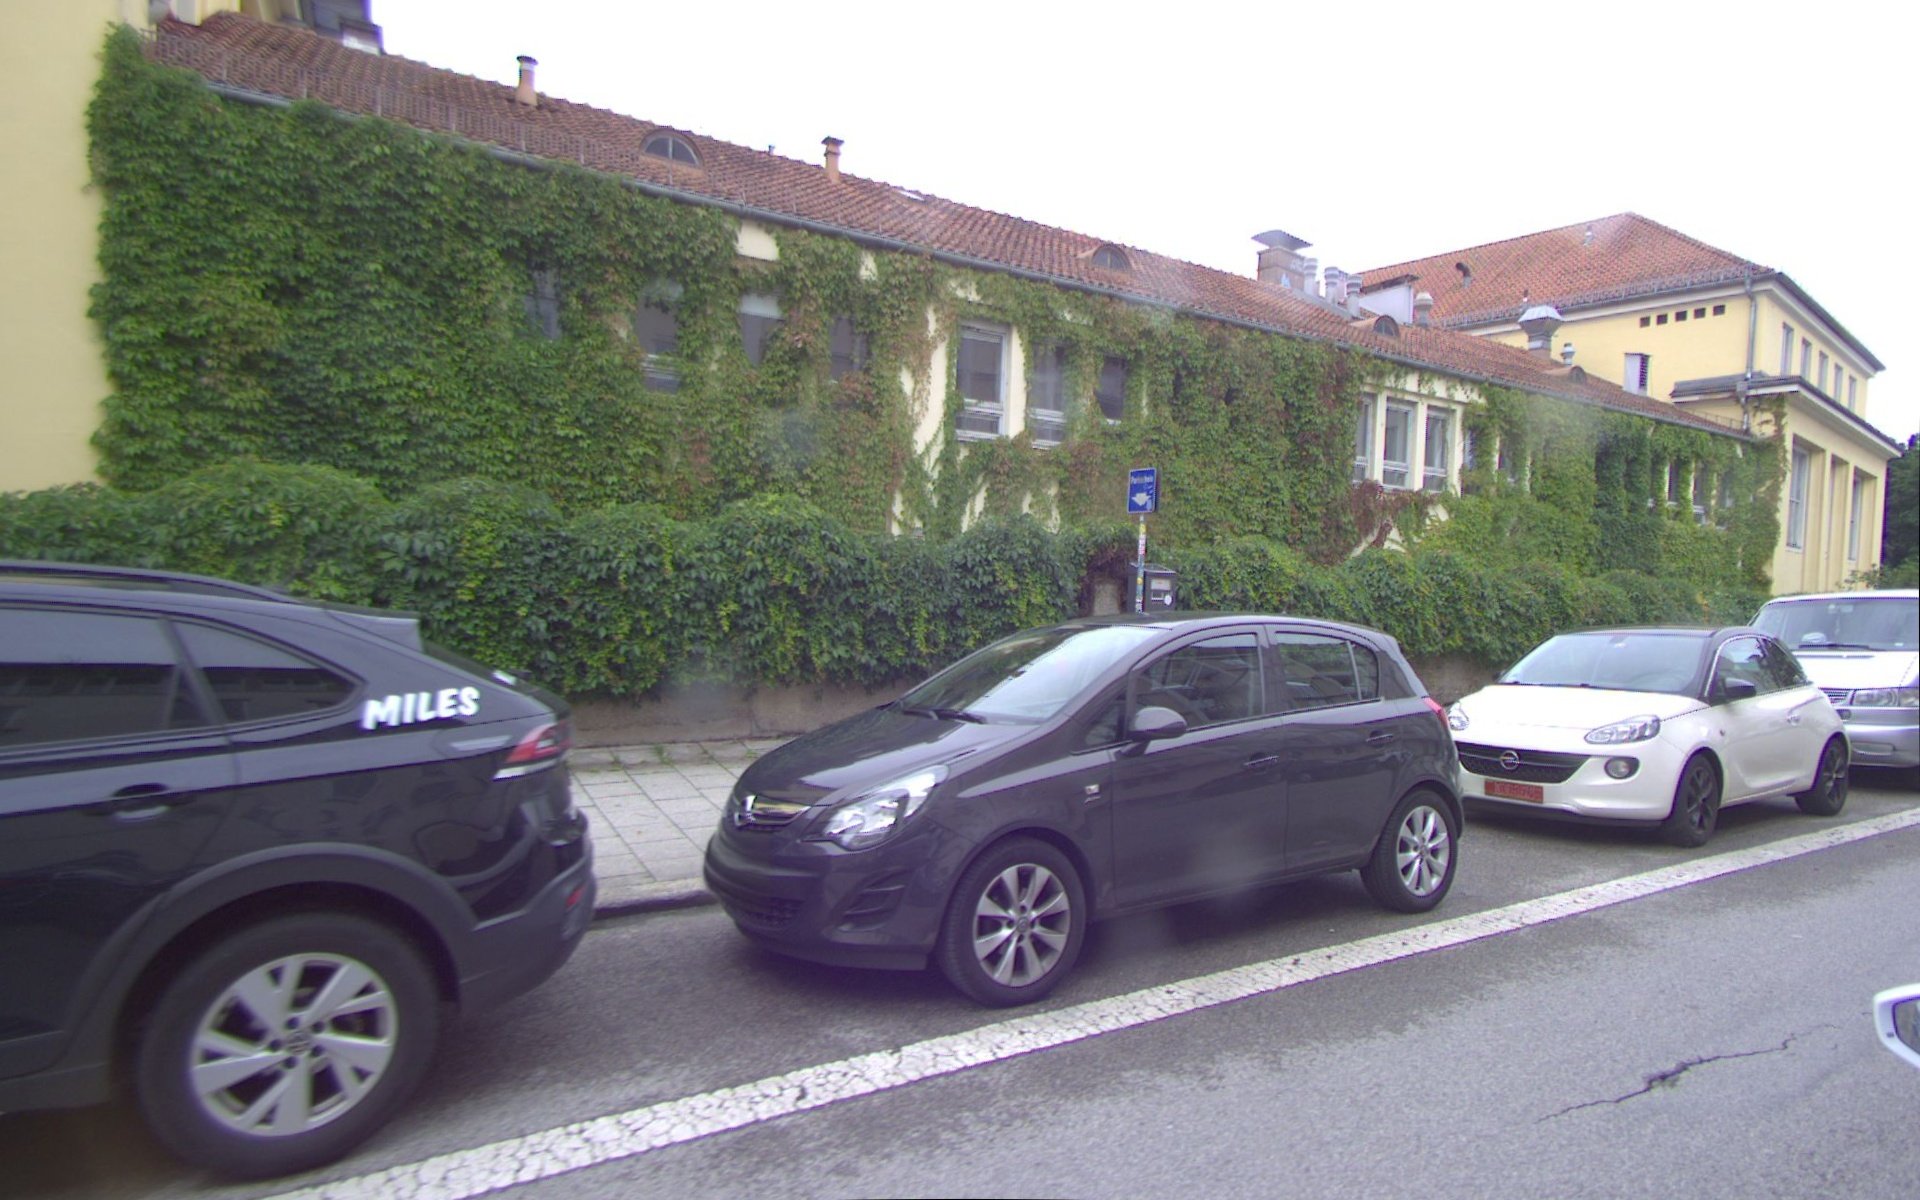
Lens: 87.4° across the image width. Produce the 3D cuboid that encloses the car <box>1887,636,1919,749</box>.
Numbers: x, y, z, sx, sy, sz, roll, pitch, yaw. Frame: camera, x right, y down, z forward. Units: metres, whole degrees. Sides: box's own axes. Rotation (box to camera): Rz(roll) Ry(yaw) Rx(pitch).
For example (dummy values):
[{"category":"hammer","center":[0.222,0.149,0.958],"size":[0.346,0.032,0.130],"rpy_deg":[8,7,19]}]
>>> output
[{"category":"car","center":[14.402,1.218,13.462],"size":[4.372,1.441,1.693],"rpy_deg":[1,-2,-30]}]

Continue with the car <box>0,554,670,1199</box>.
[{"category":"car","center":[-3.060,0.694,2.645],"size":[4.104,1.558,1.772],"rpy_deg":[1,-2,-33]}]

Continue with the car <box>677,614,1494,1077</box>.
[{"category":"car","center":[0.753,0.833,4.918],"size":[3.861,1.475,1.570],"rpy_deg":[1,-2,-32]}]

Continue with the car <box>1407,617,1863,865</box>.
[{"category":"car","center":[5.301,0.914,7.787],"size":[3.688,1.512,1.570],"rpy_deg":[1,-2,-32]}]

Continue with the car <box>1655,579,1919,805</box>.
[{"category":"car","center":[9.584,0.852,10.516],"size":[4.702,1.900,1.984],"rpy_deg":[1,-2,-30]}]
